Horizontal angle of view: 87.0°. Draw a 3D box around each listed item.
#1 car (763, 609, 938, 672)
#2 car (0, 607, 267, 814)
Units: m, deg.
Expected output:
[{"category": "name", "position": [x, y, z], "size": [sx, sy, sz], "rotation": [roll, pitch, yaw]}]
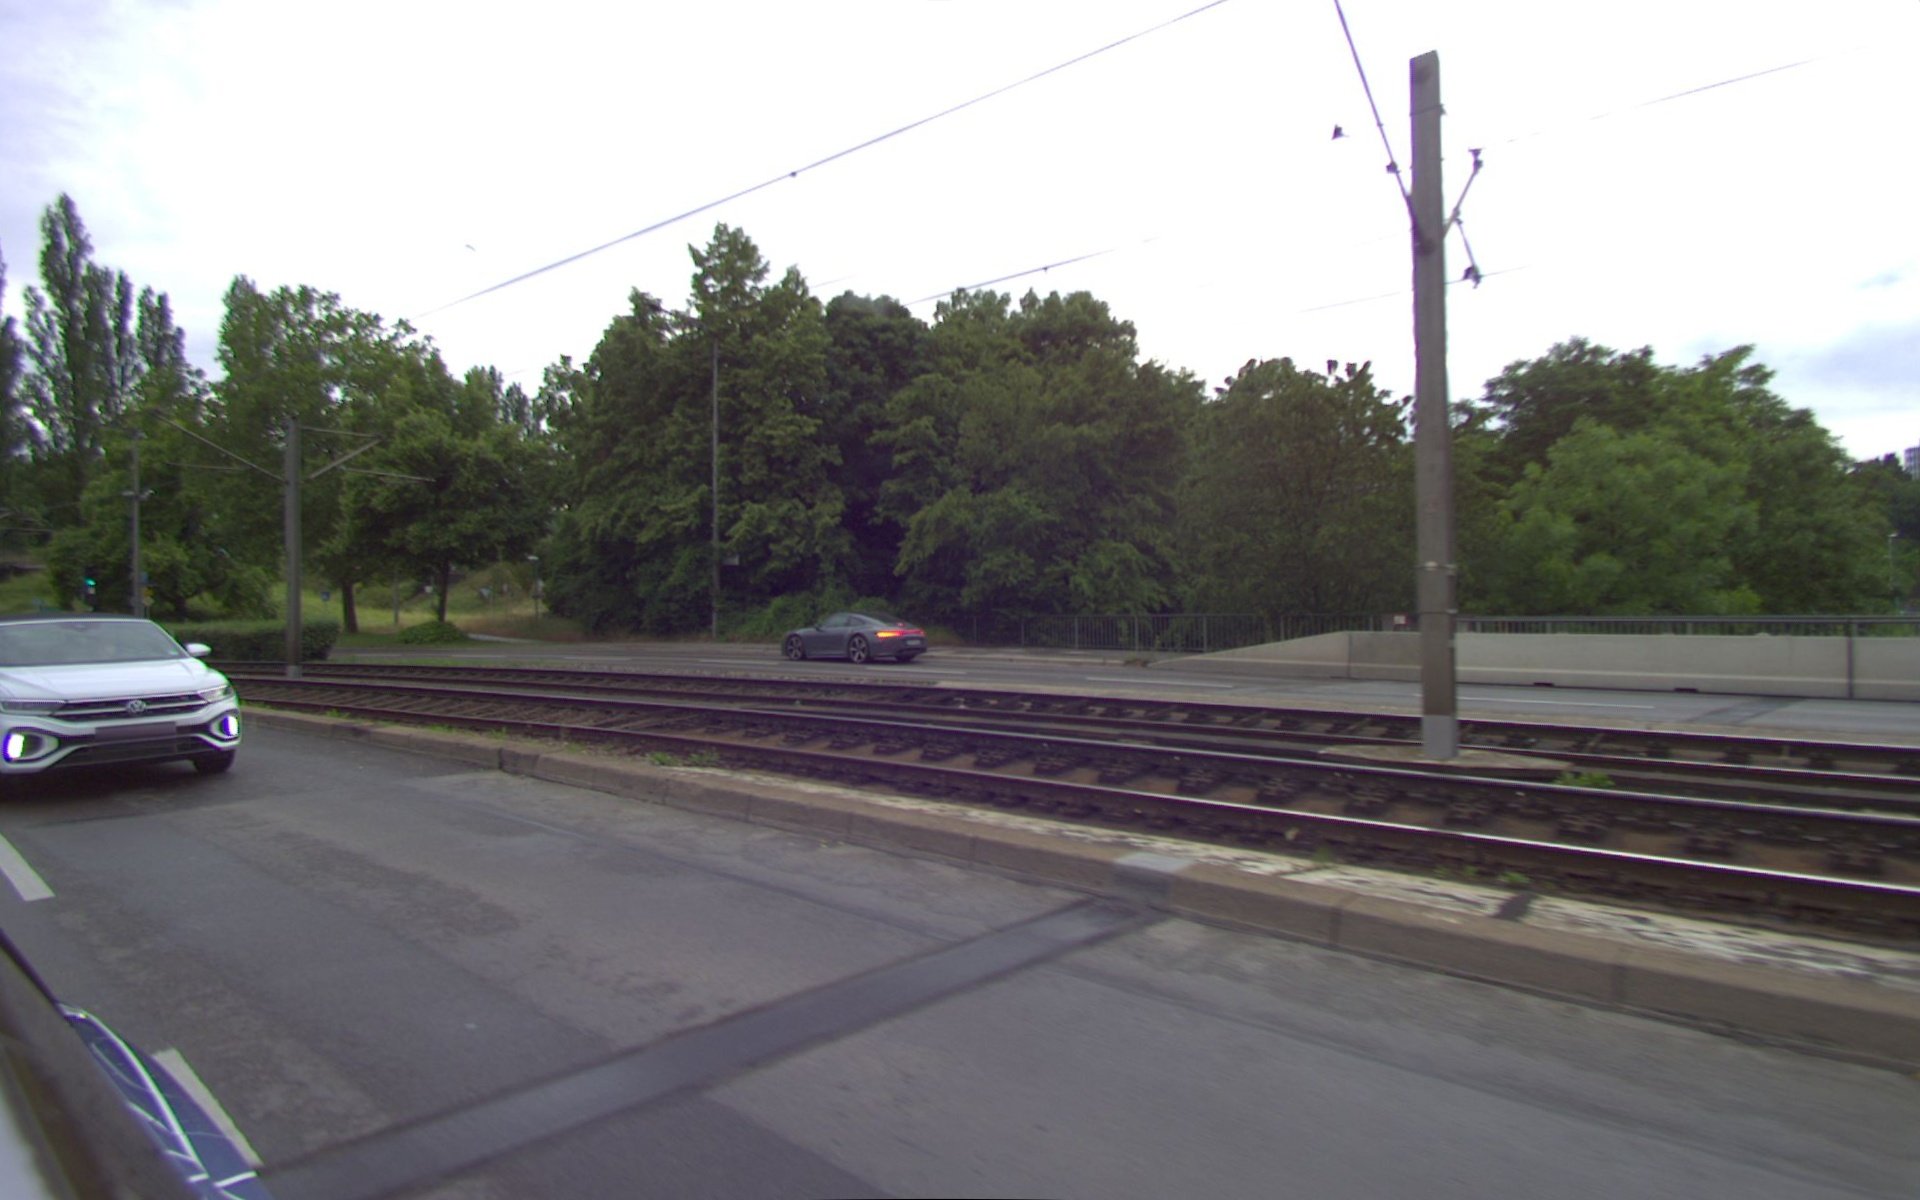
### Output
[{"category": "car", "position": [-2.899, 0.986, 26.216], "size": [4.615, 1.324, 1.818], "rotation": [1, 3, 40]}, {"category": "car", "position": [-8.604, 0.878, 9.679], "size": [4.531, 1.535, 1.855], "rotation": [-1, 0, 36]}]
